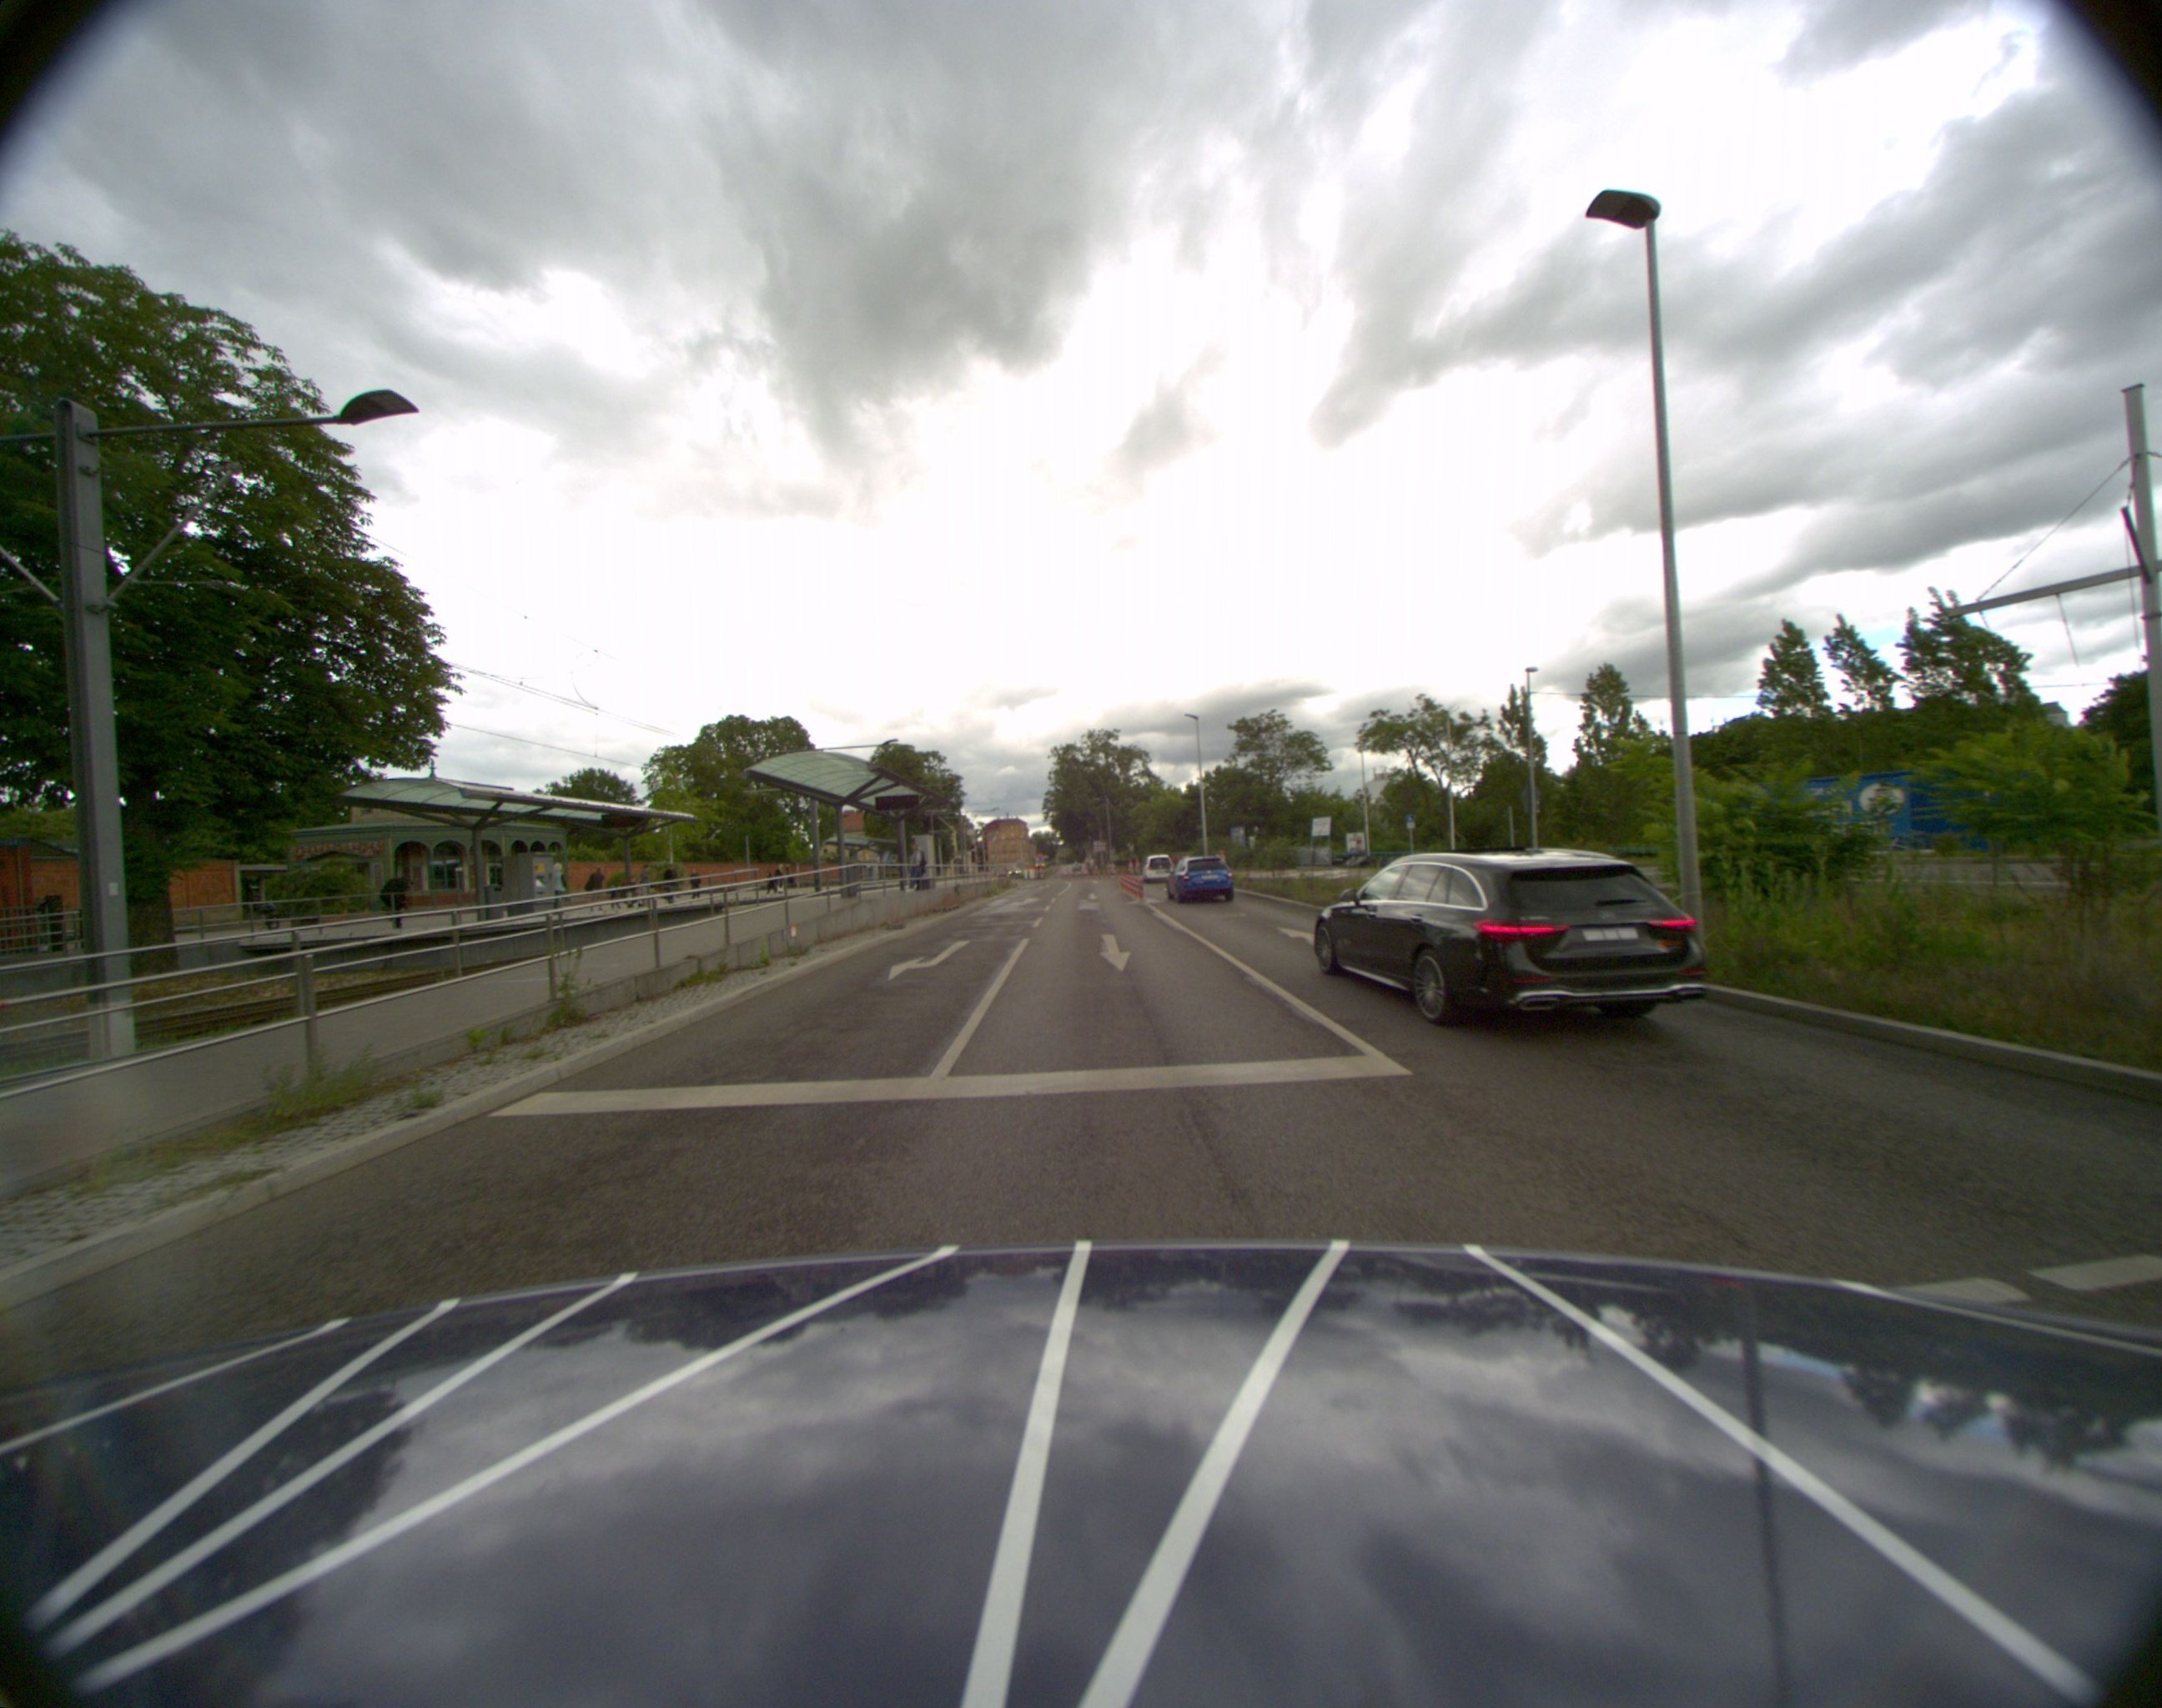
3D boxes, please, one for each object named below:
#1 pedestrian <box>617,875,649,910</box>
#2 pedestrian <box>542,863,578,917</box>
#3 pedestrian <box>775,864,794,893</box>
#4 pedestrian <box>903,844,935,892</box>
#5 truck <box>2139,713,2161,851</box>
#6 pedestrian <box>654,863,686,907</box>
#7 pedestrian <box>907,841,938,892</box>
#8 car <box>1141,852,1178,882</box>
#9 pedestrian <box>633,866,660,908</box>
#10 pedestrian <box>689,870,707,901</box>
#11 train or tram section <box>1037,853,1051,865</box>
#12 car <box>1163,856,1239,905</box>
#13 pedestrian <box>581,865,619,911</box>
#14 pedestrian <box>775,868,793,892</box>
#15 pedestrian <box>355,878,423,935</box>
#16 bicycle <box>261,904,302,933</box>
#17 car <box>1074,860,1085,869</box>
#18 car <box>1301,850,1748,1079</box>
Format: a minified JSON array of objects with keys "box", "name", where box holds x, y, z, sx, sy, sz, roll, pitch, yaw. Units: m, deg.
[{"box":[-16.721,1.431,28.347,0.659,1.184,0.676,-6,0,2],"name":"pedestrian"},{"box":[-16.948,1.167,24.731,0.545,1.667,0.675,-6,0,-3],"name":"pedestrian"},{"box":[-17.453,1.436,44.736,0.634,1.677,0.866,-6,0,0],"name":"pedestrian"},{"box":[-5.493,0.482,25.834,0.752,1.543,0.775,-6,-2,2],"name":"pedestrian"},{"box":[29.103,-1.946,15.434,2.805,3.315,8.462,-2,-2,-28],"name":"truck"},{"box":[-17.769,1.329,32.860,0.634,1.827,0.950,-6,0,2],"name":"pedestrian"},{"box":[-5.536,0.436,26.614,0.772,1.689,0.732,-6,-2,2],"name":"pedestrian"},{"box":[4.453,0.721,43.698,1.595,1.508,4.084,-4,0,-1],"name":"car"},{"box":[-17.179,1.291,30.042,0.525,1.610,0.676,-6,0,2],"name":"pedestrian"},{"box":[-23.935,1.951,47.502,0.549,1.827,0.952,-6,0,-6],"name":"pedestrian"},{"box":[-10.861,1.398,224.831,3.739,3.346,17.553,-3,0,-1],"name":"train or tram section"},{"box":[3.896,0.821,25.359,1.734,1.413,4.444,-2,0,-1],"name":"car"},{"box":[-18.503,1.316,29.260,0.863,1.667,0.761,-6,0,-10],"name":"pedestrian"},{"box":[-21.017,1.819,53.708,0.741,1.591,0.772,-6,0,9],"name":"pedestrian"},{"box":[-17.304,1.301,19.026,0.675,1.316,0.968,-6,0,-1],"name":"pedestrian"},{"box":[-31.312,2.519,29.773,0.565,1.055,1.712,-6,0,-30],"name":"bicycle"},{"box":[-0.303,2.248,168.073,1.869,1.771,4.747,-4,0,-4],"name":"car"},{"box":[3.714,0.763,7.473,1.734,1.520,4.444,-2,0,-1],"name":"car"}]
